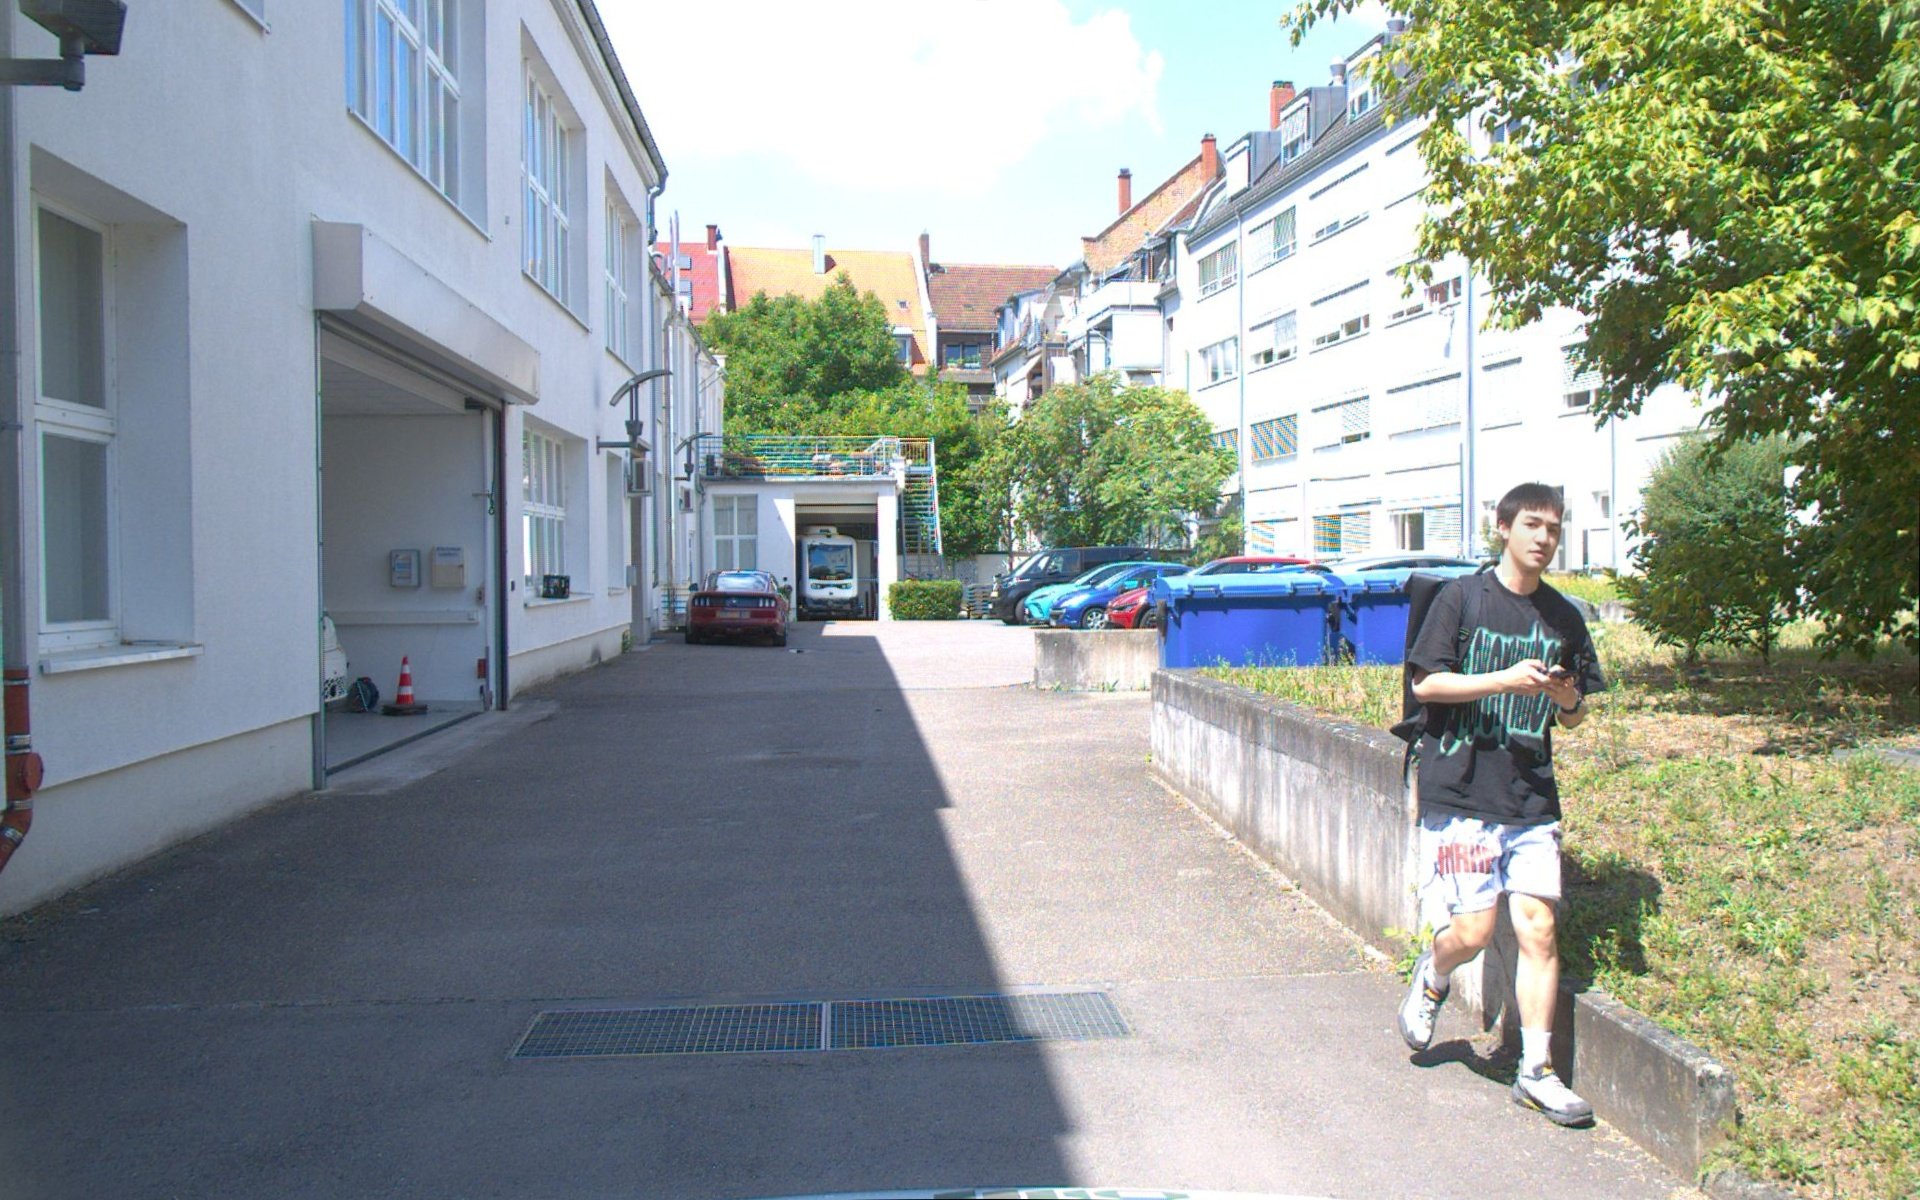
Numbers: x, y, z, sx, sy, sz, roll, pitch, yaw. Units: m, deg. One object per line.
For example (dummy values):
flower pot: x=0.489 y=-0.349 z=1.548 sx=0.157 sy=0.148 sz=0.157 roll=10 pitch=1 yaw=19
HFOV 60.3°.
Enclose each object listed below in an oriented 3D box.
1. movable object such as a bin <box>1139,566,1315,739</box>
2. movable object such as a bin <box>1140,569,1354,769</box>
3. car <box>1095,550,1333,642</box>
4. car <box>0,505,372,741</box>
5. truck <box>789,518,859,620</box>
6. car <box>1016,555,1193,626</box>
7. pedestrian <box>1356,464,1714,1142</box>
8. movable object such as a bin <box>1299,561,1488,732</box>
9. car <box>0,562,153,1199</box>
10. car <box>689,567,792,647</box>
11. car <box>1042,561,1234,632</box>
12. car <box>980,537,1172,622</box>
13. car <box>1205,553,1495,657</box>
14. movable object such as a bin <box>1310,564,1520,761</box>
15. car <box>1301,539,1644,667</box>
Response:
movable object such as a bin: x=2.209 y=0.406 z=13.852 sx=1.170 sy=1.350 sz=1.159 roll=-1 pitch=1 yaw=-6
movable object such as a bin: x=2.058 y=0.466 z=12.079 sx=1.312 sy=1.350 sz=1.160 roll=-1 pitch=1 yaw=-2
car: x=4.542 y=-0.098 z=29.882 sx=3.910 sy=1.504 sz=1.802 roll=-2 pitch=1 yaw=-6
car: x=-8.037 y=0.177 z=15.464 sx=4.391 sy=2.060 sz=1.979 roll=0 pitch=1 yaw=-4
truck: x=-4.234 y=-0.959 z=50.903 sx=1.755 sy=2.988 sz=4.643 roll=-1 pitch=1 yaw=-9
car: x=3.407 y=-0.253 z=39.433 sx=3.910 sy=1.561 sz=1.802 roll=-2 pitch=1 yaw=-6
pedestrian: x=1.616 y=0.527 z=4.754 sx=0.742 sy=1.786 sz=0.751 roll=-1 pitch=1 yaw=-3
movable object such as a bin: x=3.628 y=0.359 z=13.954 sx=1.193 sy=1.350 sz=1.159 roll=-1 pitch=1 yaw=-6
car: x=-2.141 y=0.738 z=0.612 sx=1.720 sy=1.454 sz=4.384 roll=-1 pitch=2 yaw=-3
car: x=-4.162 y=0.085 z=31.822 sx=1.763 sy=1.414 sz=3.996 roll=-1 pitch=1 yaw=-5
car: x=3.883 y=-0.100 z=36.487 sx=3.910 sy=1.414 sz=1.802 roll=-2 pitch=1 yaw=-6
car: x=2.931 y=-0.545 z=42.438 sx=4.588 sy=1.992 sz=2.074 roll=-2 pitch=1 yaw=-6
car: x=5.880 y=0.047 z=25.191 sx=3.910 sy=1.414 sz=1.802 roll=-2 pitch=1 yaw=-6
movable object such as a bin: x=3.323 y=0.423 z=12.203 sx=1.192 sy=1.350 sz=1.160 roll=-1 pitch=1 yaw=-2
car: x=6.665 y=0.012 z=21.730 sx=3.910 sy=1.504 sz=1.802 roll=-2 pitch=1 yaw=-6
